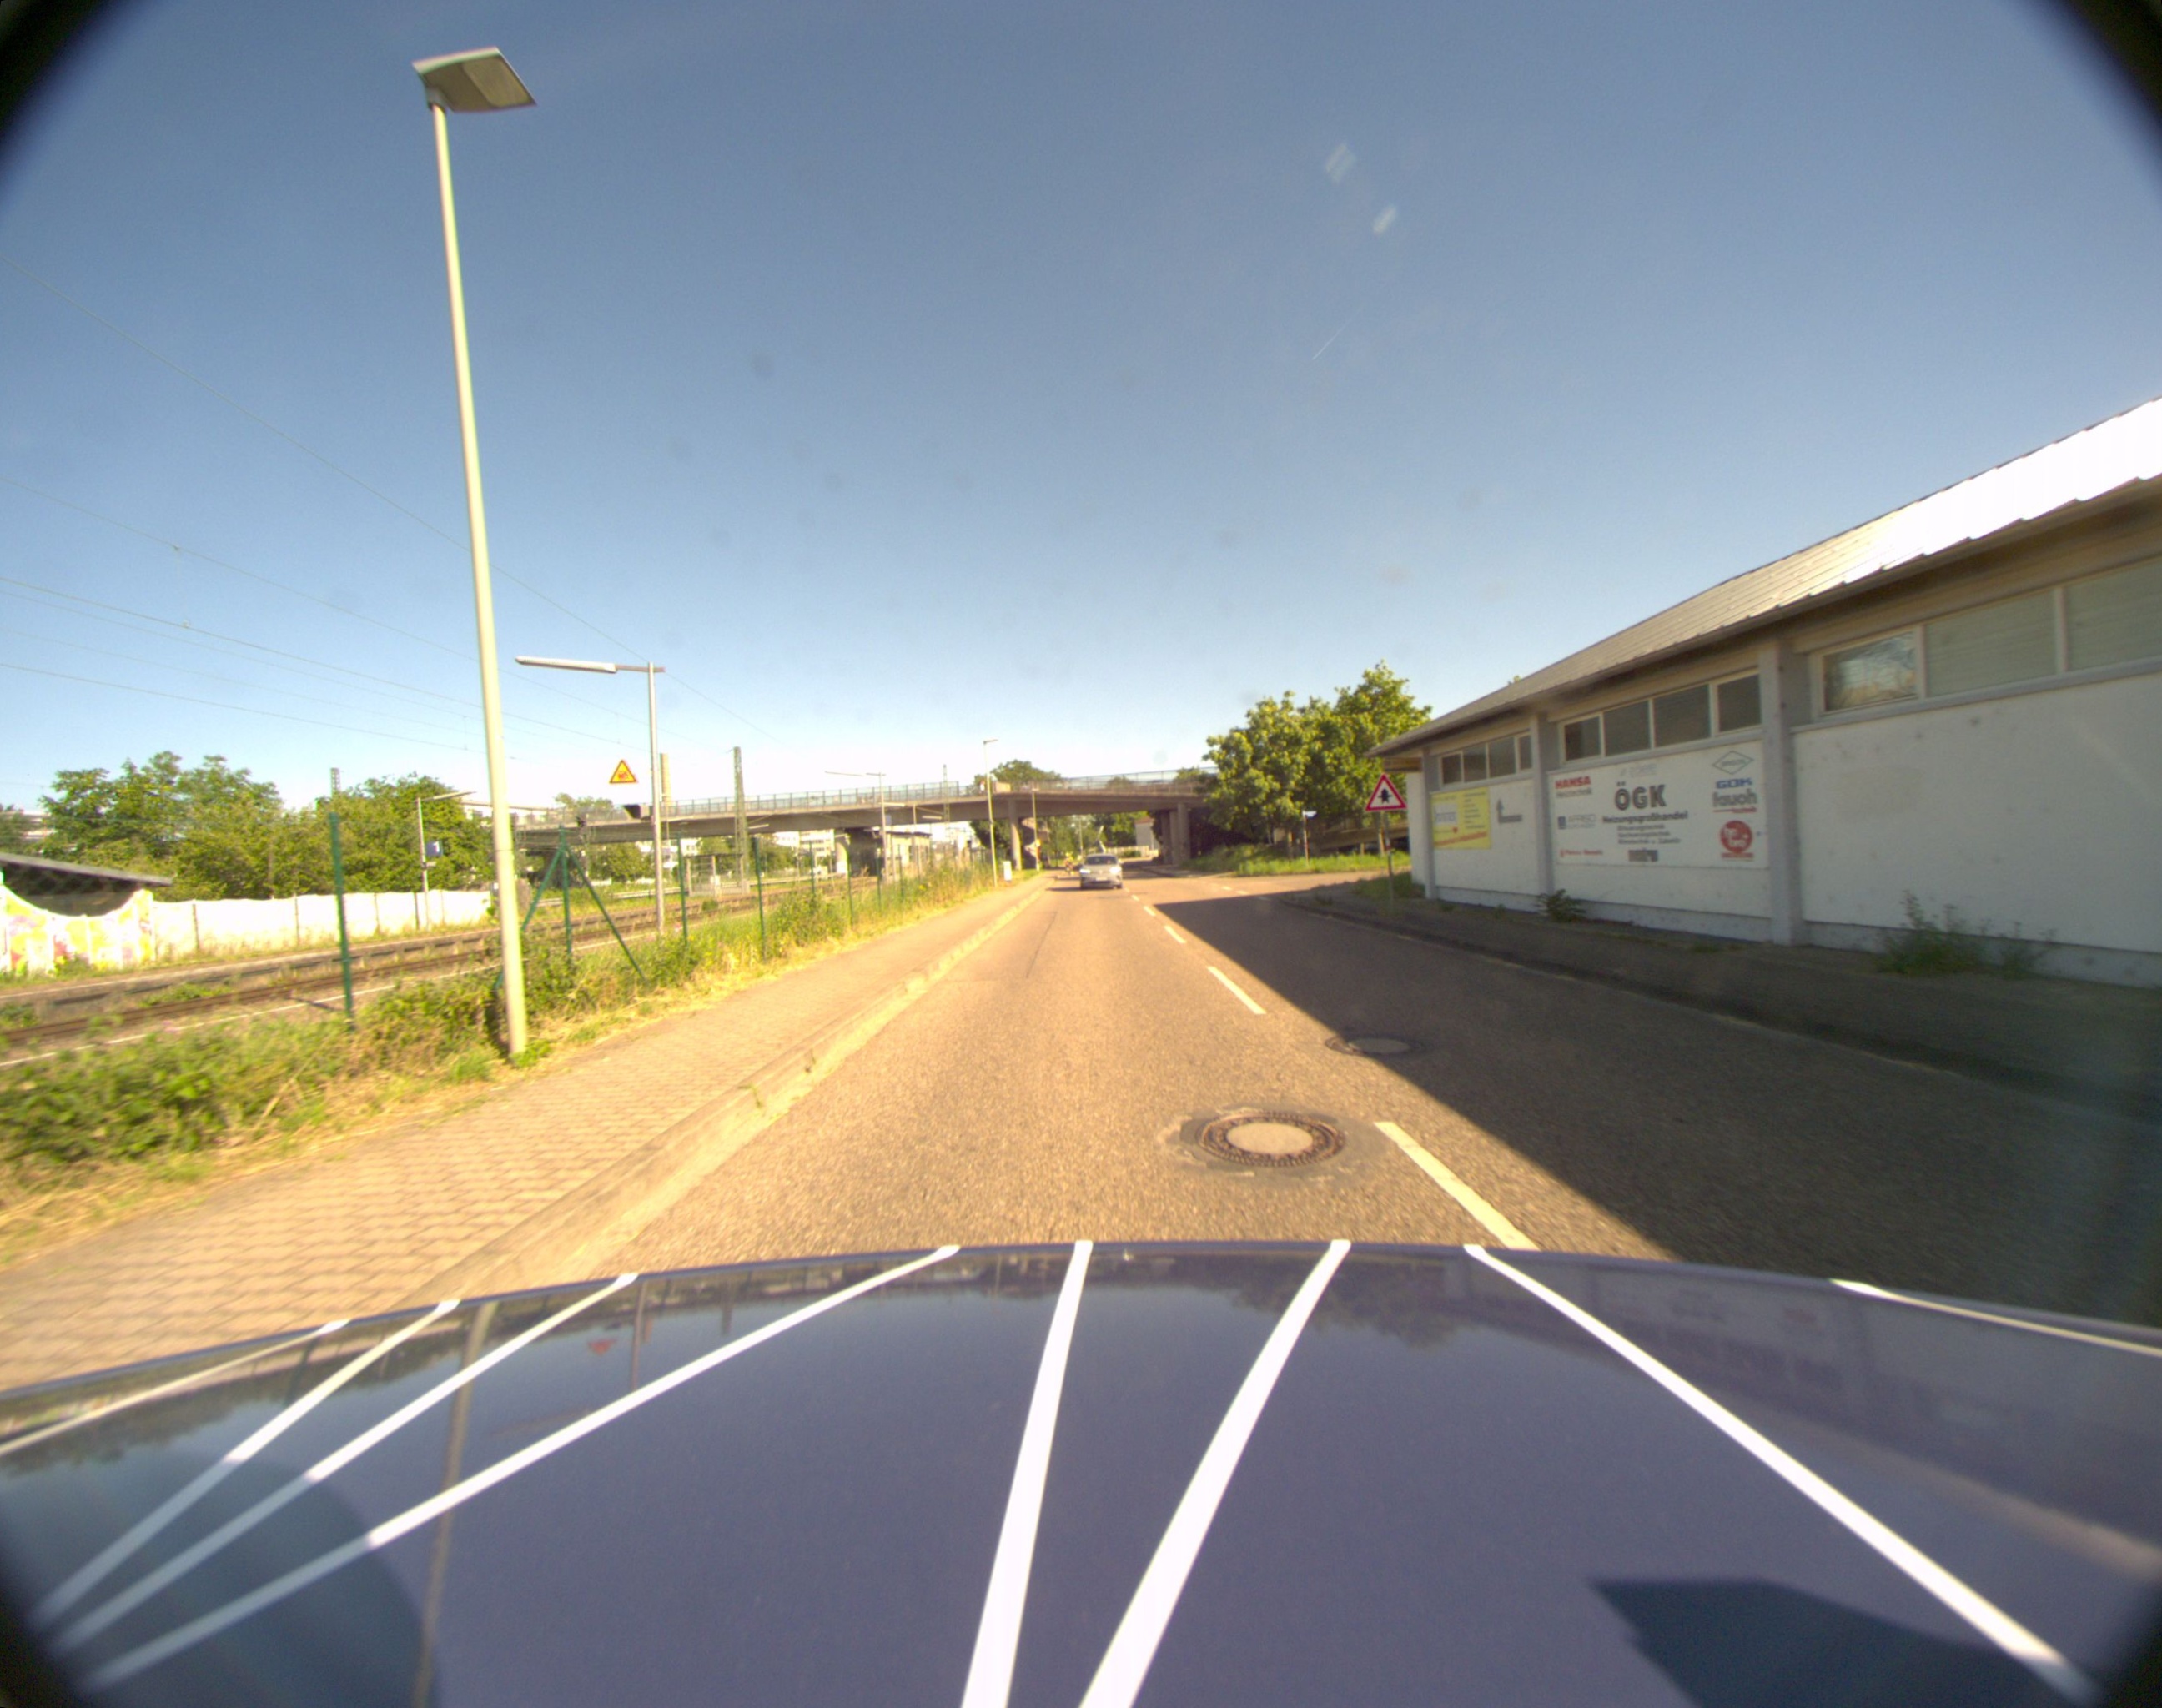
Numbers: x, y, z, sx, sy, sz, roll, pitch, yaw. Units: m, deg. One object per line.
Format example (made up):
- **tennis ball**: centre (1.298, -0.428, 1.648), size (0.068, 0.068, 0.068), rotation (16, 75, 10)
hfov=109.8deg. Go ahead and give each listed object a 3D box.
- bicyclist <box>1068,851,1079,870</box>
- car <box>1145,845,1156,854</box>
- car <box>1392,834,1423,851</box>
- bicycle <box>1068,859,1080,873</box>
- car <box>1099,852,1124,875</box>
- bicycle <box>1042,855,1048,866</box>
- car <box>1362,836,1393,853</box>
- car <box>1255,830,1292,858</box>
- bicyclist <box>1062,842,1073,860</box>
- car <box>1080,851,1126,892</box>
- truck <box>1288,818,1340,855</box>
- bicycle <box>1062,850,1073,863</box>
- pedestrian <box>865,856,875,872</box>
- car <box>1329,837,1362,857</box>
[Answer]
- **bicyclist**: centre (-0.604, 0.516, 60.335), size (0.843, 1.480, 0.923), rotation (-3, 1, -2)
- **car**: centre (14.346, -0.934, 156.341), size (1.998, 1.767, 4.367), rotation (-3, 1, 6)
- **car**: centre (30.686, -1.080, 71.385), size (1.735, 1.434, 4.258), rotation (-3, 1, 35)
- **bicycle**: centre (-0.586, 0.931, 60.297), size (0.843, 1.045, 2.189), rotation (-3, 0, -2)
- **car**: centre (2.373, 0.710, 60.417), size (1.850, 1.621, 4.295), rotation (-3, 1, 1)
- **bicycle**: centre (-4.329, 0.782, 91.925), size (0.599, 1.175, 2.180), rotation (-2, 1, -5)
- **car**: centre (28.446, -0.935, 72.827), size (1.735, 1.434, 4.258), rotation (-3, 1, 35)
- **car**: centre (19.850, -1.061, 78.103), size (1.942, 2.665, 6.020), rotation (-3, 0, 30)
- **bicyclist**: centre (-1.139, -0.264, 63.396), size (0.843, 1.480, 0.923), rotation (-3, 1, -2)
- **car**: centre (0.914, 0.722, 33.572), size (1.850, 1.621, 4.294), rotation (-2, 1, 0)
- **truck**: centre (24.123, -1.850, 78.257), size (2.476, 3.531, 7.982), rotation (-2, 1, 36)
- **bicycle**: centre (-1.114, 0.190, 63.411), size (0.843, 1.045, 2.189), rotation (-3, 0, -1)
- **pedestrian**: centre (-26.516, 1.270, 95.372), size (0.895, 2.002, 0.835), rotation (-3, 1, -2)
- **car**: centre (21.750, -0.596, 62.396), size (1.679, 1.543, 4.306), rotation (-2, 1, 31)
